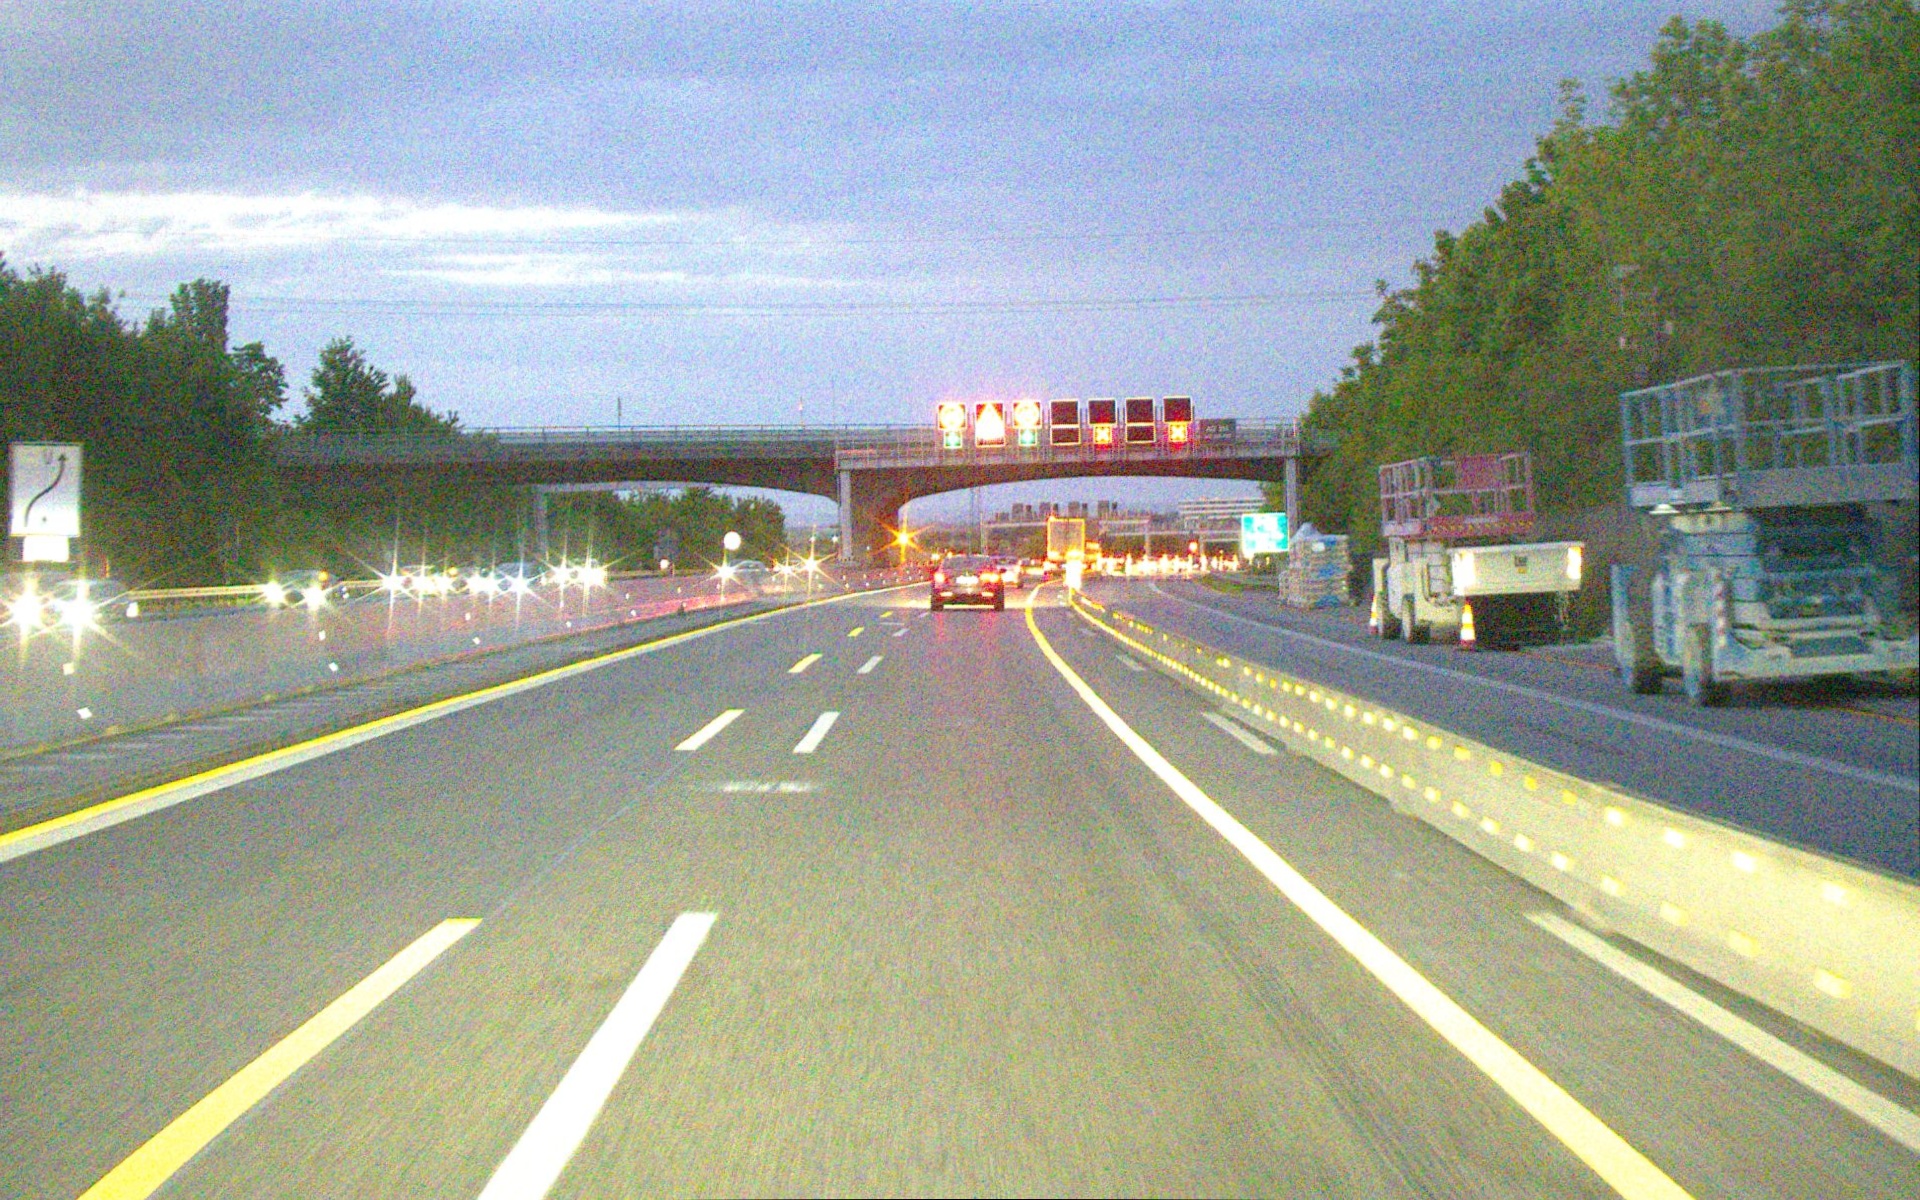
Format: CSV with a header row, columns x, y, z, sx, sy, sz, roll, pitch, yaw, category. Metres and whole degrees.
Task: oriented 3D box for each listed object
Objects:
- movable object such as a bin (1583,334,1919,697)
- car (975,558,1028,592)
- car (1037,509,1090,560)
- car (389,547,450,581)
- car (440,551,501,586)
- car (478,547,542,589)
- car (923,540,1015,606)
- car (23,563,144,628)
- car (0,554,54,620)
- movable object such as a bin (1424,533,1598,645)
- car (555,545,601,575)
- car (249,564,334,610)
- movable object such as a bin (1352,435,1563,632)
x,y,z,sx,sy,sz,roll,pitch,yaw,category
8.105,-0.819,34.561,2.564,3.306,5.579,-1,1,0,movable object such as a bin
1.811,-1.094,148.968,1.972,1.432,3.999,1,1,5,car
7.189,-4.546,240.004,3.605,3.384,8.014,1,1,1,car
-24.397,-1.614,155.373,1.825,1.480,4.701,1,1,2,car
-21.469,-1.385,150.906,1.810,1.480,4.701,1,1,2,car
-19.206,-1.362,146.934,1.901,1.732,4.807,1,1,2,car
0.208,-0.705,88.168,2.265,1.616,4.000,1,1,0,car
-22.394,-0.128,87.982,1.806,1.583,4.877,1,1,0,car
-25.726,-0.373,91.918,1.750,1.716,4.670,1,1,0,car
8.367,-0.168,52.525,1.993,1.596,4.084,-2,0,1,movable object such as a bin
-21.488,-2.253,193.595,1.804,1.632,4.751,1,1,2,car
-21.966,-0.434,113.131,1.750,1.449,4.670,1,1,2,car
8.228,-1.089,57.477,2.620,3.097,5.806,-1,1,0,movable object such as a bin
